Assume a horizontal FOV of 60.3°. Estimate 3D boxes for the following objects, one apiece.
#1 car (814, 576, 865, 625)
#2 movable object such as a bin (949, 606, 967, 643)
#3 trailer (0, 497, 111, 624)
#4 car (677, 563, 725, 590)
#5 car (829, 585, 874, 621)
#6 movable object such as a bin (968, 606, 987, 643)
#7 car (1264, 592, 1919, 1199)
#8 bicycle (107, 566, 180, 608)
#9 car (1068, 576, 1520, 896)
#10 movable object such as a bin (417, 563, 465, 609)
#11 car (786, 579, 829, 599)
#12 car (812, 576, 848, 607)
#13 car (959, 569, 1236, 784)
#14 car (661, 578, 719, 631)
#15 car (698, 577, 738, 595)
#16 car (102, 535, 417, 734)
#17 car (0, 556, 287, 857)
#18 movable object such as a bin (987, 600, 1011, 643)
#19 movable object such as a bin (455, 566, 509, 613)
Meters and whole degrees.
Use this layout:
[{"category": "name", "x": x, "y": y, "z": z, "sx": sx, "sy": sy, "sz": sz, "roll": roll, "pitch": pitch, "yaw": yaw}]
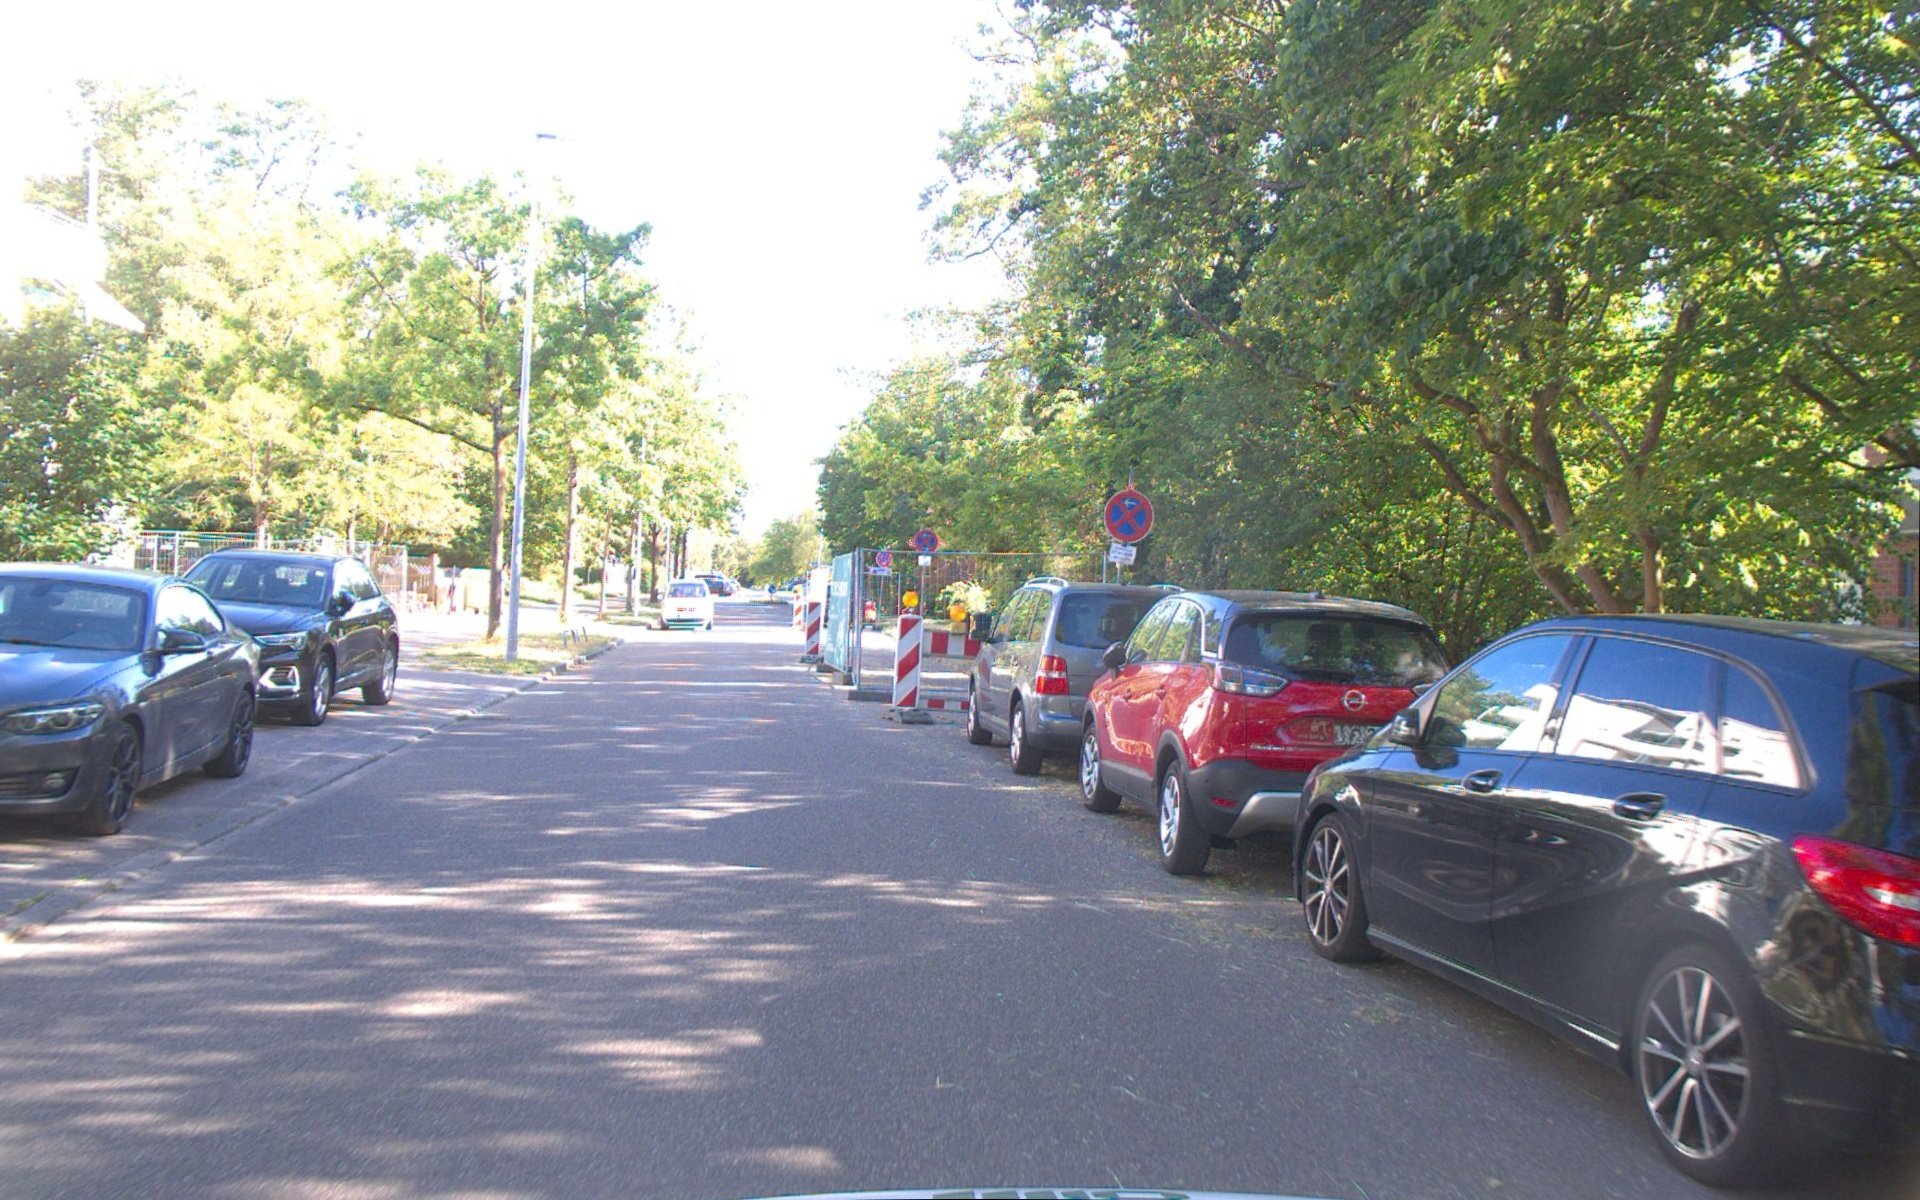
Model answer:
[{"category": "car", "x": -4.580, "y": 0.001, "z": 63.378, "sx": 1.774, "sy": 1.679, "sz": 4.418, "roll": 4, "pitch": 0, "yaw": -3}, {"category": "movable object such as a bin", "x": -0.052, "y": 0.581, "z": 39.930, "sx": 0.405, "sy": 0.885, "sz": 0.483, "roll": 0, "pitch": 0, "yaw": -6}, {"category": "trailer", "x": -17.361, "y": -0.740, "z": 29.903, "sx": 1.827, "sy": 2.157, "sz": 4.343, "roll": 4, "pitch": 0, "yaw": -3}, {"category": "car", "x": -28.626, "y": -2.582, "z": 182.759, "sx": 5.109, "sy": 2.666, "sz": 2.287, "roll": 4, "pitch": 0, "yaw": -12}, {"category": "car", "x": -4.629, "y": 0.101, "z": 70.145, "sx": 1.630, "sy": 1.399, "sz": 4.148, "roll": 4, "pitch": 0, "yaw": -7}, {"category": "movable object such as a bin", "x": 0.419, "y": 0.581, "z": 40.059, "sx": 0.405, "sy": 0.885, "sz": 0.483, "roll": 0, "pitch": 0, "yaw": -6}, {"category": "car", "x": 2.639, "y": 0.803, "z": 5.926, "sx": 1.681, "sy": 1.535, "sz": 4.140, "roll": 3, "pitch": 0, "yaw": -10}, {"category": "bicycle", "x": -21.456, "y": -0.347, "z": 43.487, "sx": 1.661, "sy": 1.045, "sz": 0.400, "roll": 2, "pitch": -1, "yaw": -2}, {"category": "car", "x": 1.883, "y": 0.692, "z": 10.619, "sx": 1.646, "sy": 1.601, "sz": 4.061, "roll": 3, "pitch": 0, "yaw": -6}, {"category": "movable object such as a bin", "x": -17.264, "y": -0.467, "z": 55.013, "sx": 1.134, "sy": 1.460, "sz": 1.255, "roll": 1, "pitch": 0, "yaw": -41}, {"category": "car", "x": -14.227, "y": -1.038, "z": 154.625, "sx": 3.761, "sy": 1.604, "sz": 1.688, "roll": 4, "pitch": 0, "yaw": -1}, {"category": "car", "x": -8.318, "y": -0.560, "z": 105.652, "sx": 1.758, "sy": 1.816, "sz": 4.546, "roll": 4, "pitch": 0, "yaw": -10}, {"category": "car", "x": 1.110, "y": 0.595, "z": 15.307, "sx": 1.647, "sy": 1.650, "sz": 4.130, "roll": 3, "pitch": 0, "yaw": -8}, {"category": "car", "x": -8.902, "y": 0.113, "z": 54.799, "sx": 1.627, "sy": 1.624, "sz": 4.003, "roll": 2, "pitch": 0, "yaw": -6}, {"category": "car", "x": -25.470, "y": -1.437, "z": 174.153, "sx": 4.027, "sy": 1.604, "sz": 1.956, "roll": 4, "pitch": 0, "yaw": -5}, {"category": "car", "x": -6.876, "y": 0.283, "z": 16.732, "sx": 1.742, "sy": 1.649, "sz": 4.214, "roll": 4, "pitch": 0, "yaw": -7}, {"category": "car", "x": -5.613, "y": 0.500, "z": 10.358, "sx": 1.685, "sy": 1.457, "sz": 4.127, "roll": 4, "pitch": 0, "yaw": -10}, {"category": "movable object such as a bin", "x": 0.939, "y": 0.516, "z": 39.989, "sx": 0.509, "sy": 1.017, "sz": 0.607, "roll": 0, "pitch": 0, "yaw": -6}, {"category": "movable object such as a bin", "x": -15.483, "y": -0.346, "z": 53.586, "sx": 1.242, "sy": 1.460, "sz": 1.182, "roll": 2, "pitch": 0, "yaw": 9}]
